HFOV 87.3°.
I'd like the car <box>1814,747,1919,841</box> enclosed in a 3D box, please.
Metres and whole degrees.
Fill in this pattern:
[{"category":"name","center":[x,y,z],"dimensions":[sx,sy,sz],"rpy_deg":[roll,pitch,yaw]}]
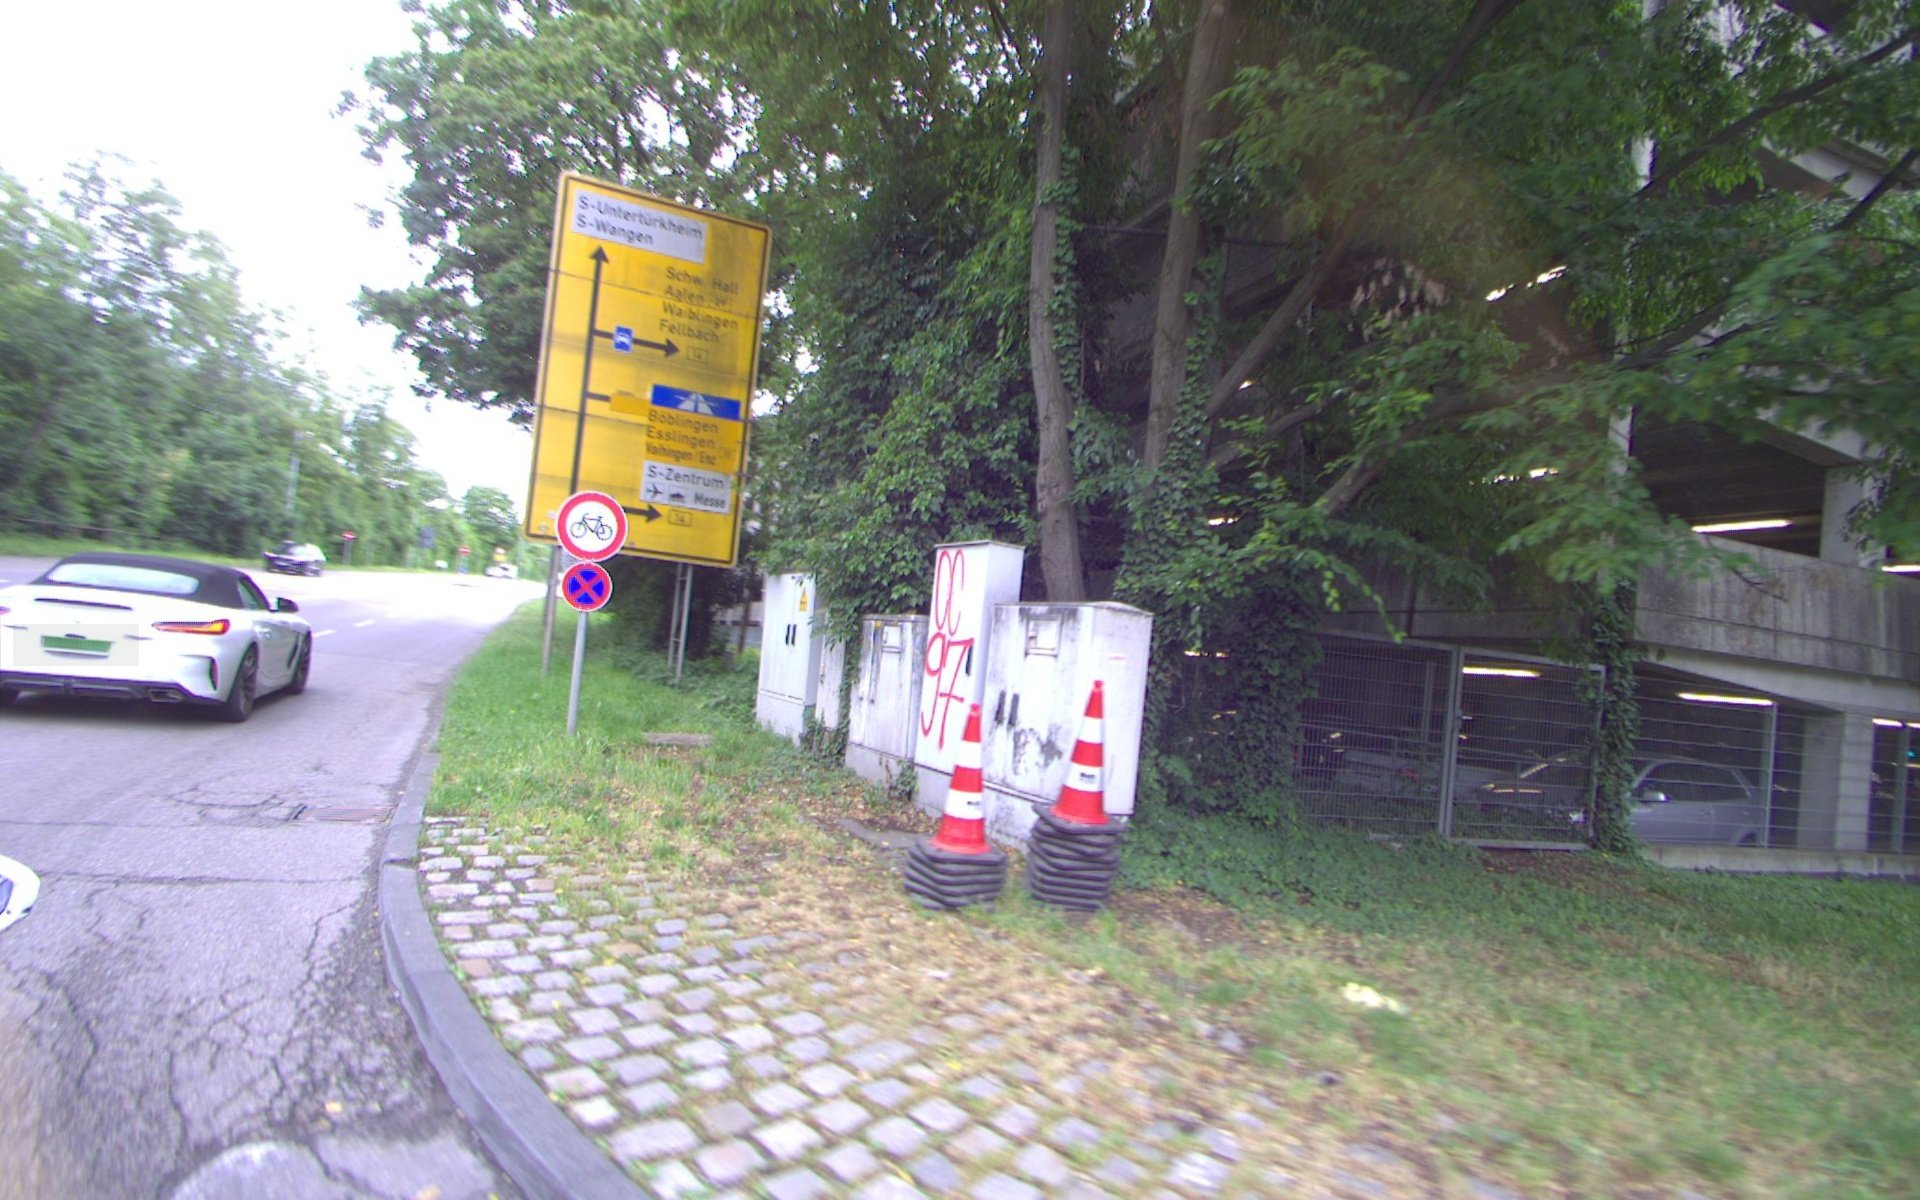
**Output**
[{"category":"car","center":[21.474,4.416,22.489],"dimensions":[3.946,1.746,1.993],"rpy_deg":[8,-4,-22]}]

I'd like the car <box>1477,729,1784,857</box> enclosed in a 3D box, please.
[{"category":"car","center":[8.250,2.368,12.407],"dimensions":[3.210,1.099,1.532],"rpy_deg":[8,-3,-21]}]

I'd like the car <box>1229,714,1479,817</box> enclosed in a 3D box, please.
[{"category":"car","center":[6.485,2.717,16.602],"dimensions":[3.589,1.175,1.617],"rpy_deg":[8,-3,-19]}]

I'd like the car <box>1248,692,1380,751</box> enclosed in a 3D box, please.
[{"category":"car","center":[12.202,4.191,34.716],"dimensions":[4.018,1.505,1.818],"rpy_deg":[8,-2,-22]}]

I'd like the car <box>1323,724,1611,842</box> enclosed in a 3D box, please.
[{"category":"car","center":[7.291,2.625,14.519],"dimensions":[3.589,1.175,1.617],"rpy_deg":[8,-3,-19]}]

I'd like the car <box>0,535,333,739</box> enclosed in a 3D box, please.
[{"category":"car","center":[-7.187,0.267,9.079],"dimensions":[1.857,1.324,3.855],"rpy_deg":[8,-3,-23]}]

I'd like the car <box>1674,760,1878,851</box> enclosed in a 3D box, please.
[{"category":"car","center":[16.607,4.183,20.483],"dimensions":[3.724,1.380,1.517],"rpy_deg":[8,-3,-21]}]

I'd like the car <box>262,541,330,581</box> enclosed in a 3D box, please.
[{"category":"car","center":[-34.935,-2.008,53.026],"dimensions":[1.803,1.671,4.207],"rpy_deg":[9,-3,-19]}]
